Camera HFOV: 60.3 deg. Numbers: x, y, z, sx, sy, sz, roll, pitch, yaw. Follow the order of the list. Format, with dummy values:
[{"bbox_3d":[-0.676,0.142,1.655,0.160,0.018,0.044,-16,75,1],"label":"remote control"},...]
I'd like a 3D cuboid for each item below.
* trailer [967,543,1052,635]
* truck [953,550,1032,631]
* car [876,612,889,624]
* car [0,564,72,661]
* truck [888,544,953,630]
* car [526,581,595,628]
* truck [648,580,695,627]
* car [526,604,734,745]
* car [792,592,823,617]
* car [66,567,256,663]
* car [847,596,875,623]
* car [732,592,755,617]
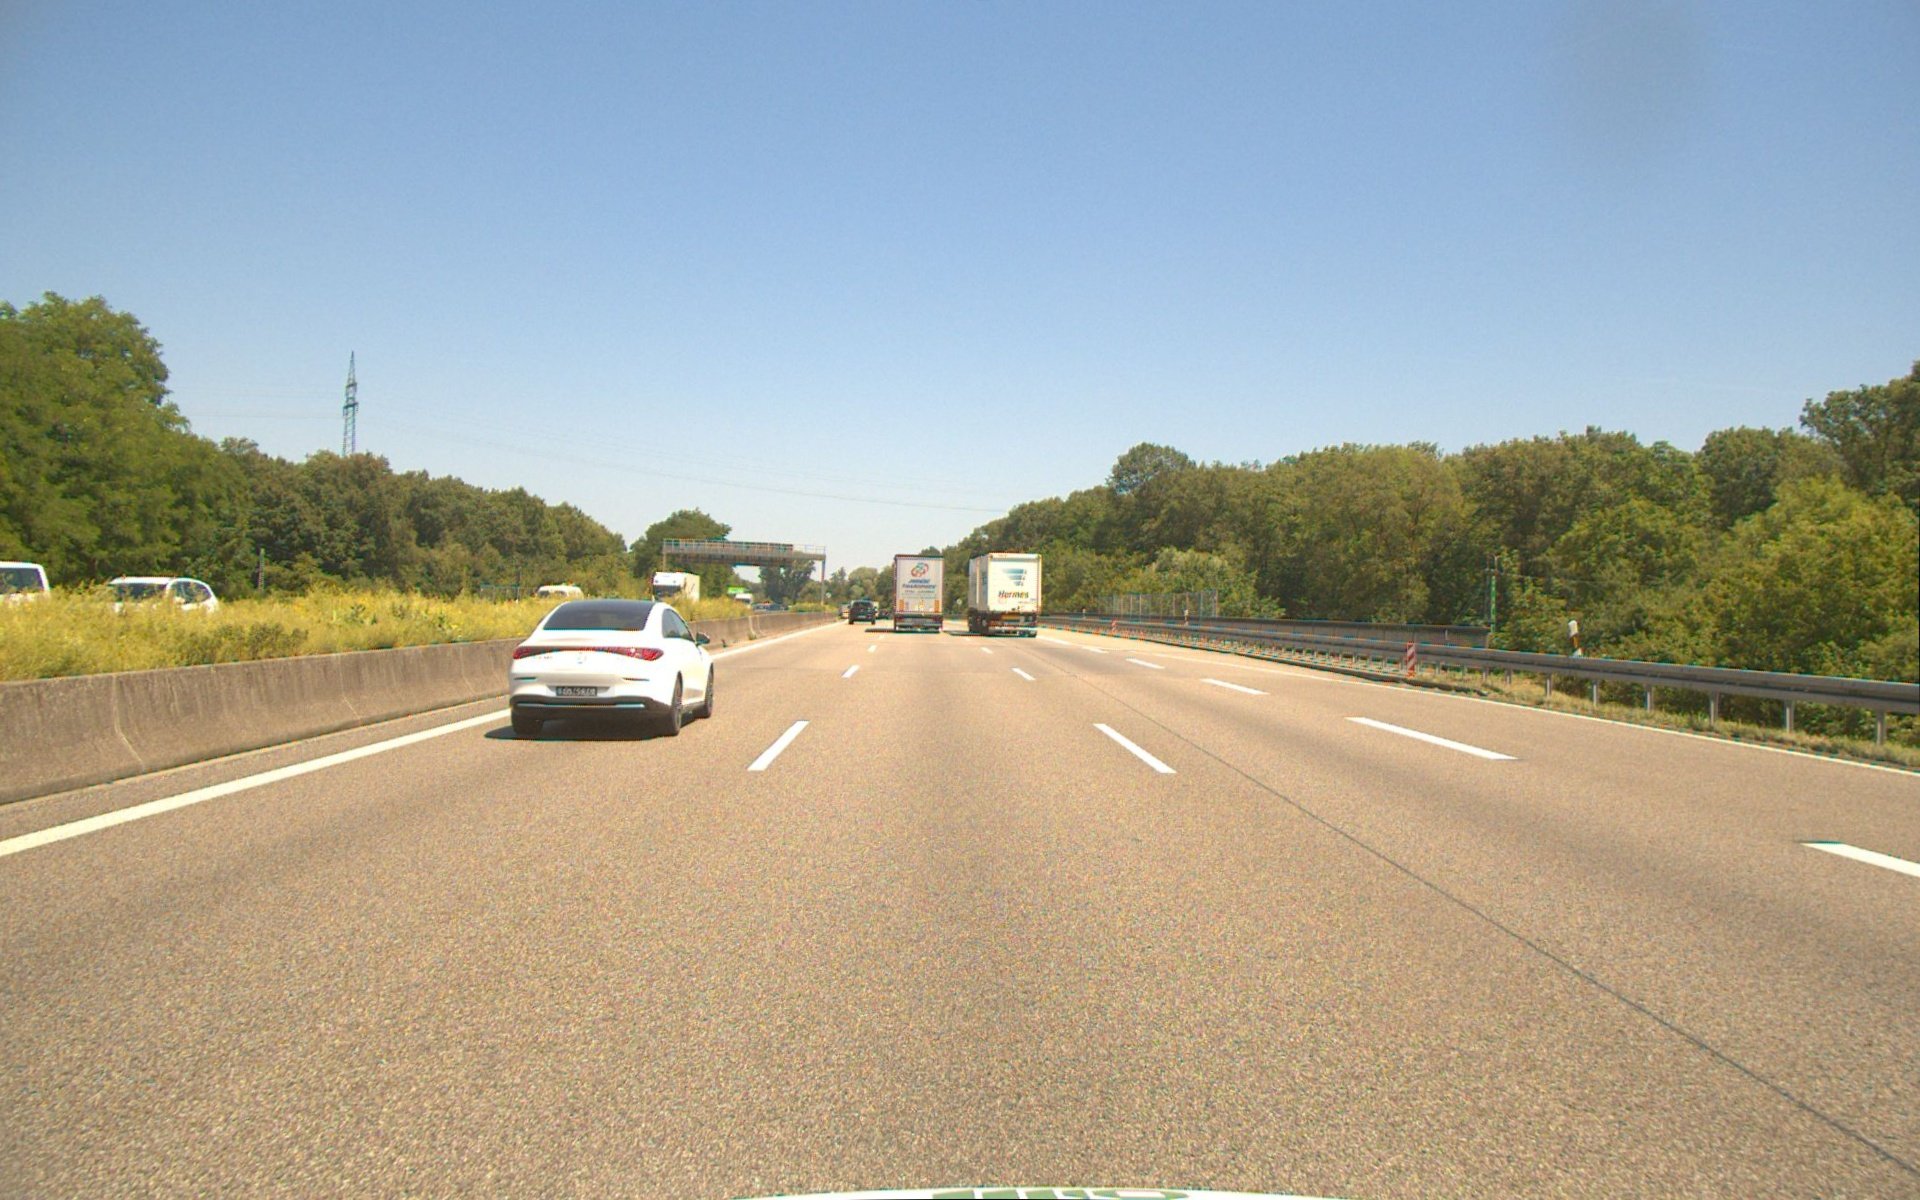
[{"bbox_3d":[2.300,-0.582,81.210,3.301,4.215,9.085,1,1,-4],"label":"trailer"},{"bbox_3d":[1.648,-0.593,90.955,3.260,4.123,10.944,1,1,-4],"label":"truck"},{"bbox_3d":[-12.021,2.789,256.678,1.954,1.623,3.997,1,1,-4],"label":"car"},{"bbox_3d":[-21.399,0.259,35.766,1.953,2.049,4.618,1,0,-1],"label":"car"},{"bbox_3d":[-2.162,-0.708,87.652,3.165,4.275,8.461,1,1,-3],"label":"truck"},{"bbox_3d":[-18.670,0.221,77.509,2.082,2.119,4.969,1,0,-1],"label":"car"},{"bbox_3d":[-25.788,0.323,148.090,2.987,4.046,8.284,1,0,-2],"label":"truck"},{"bbox_3d":[-3.910,0.811,20.412,1.731,1.473,5.106,0,0,-2],"label":"car"},{"bbox_3d":[-13.133,0.375,142.740,2.245,2.049,4.709,1,0,-1],"label":"car"},{"bbox_3d":[-17.213,0.303,35.917,1.866,1.932,4.721,1,0,-1],"label":"car"},{"bbox_3d":[-7.375,0.701,122.804,1.954,1.907,3.997,1,1,-5],"label":"car"},{"bbox_3d":[-23.935,0.499,183.095,1.954,2.613,6.125,1,0,-3],"label":"car"}]
